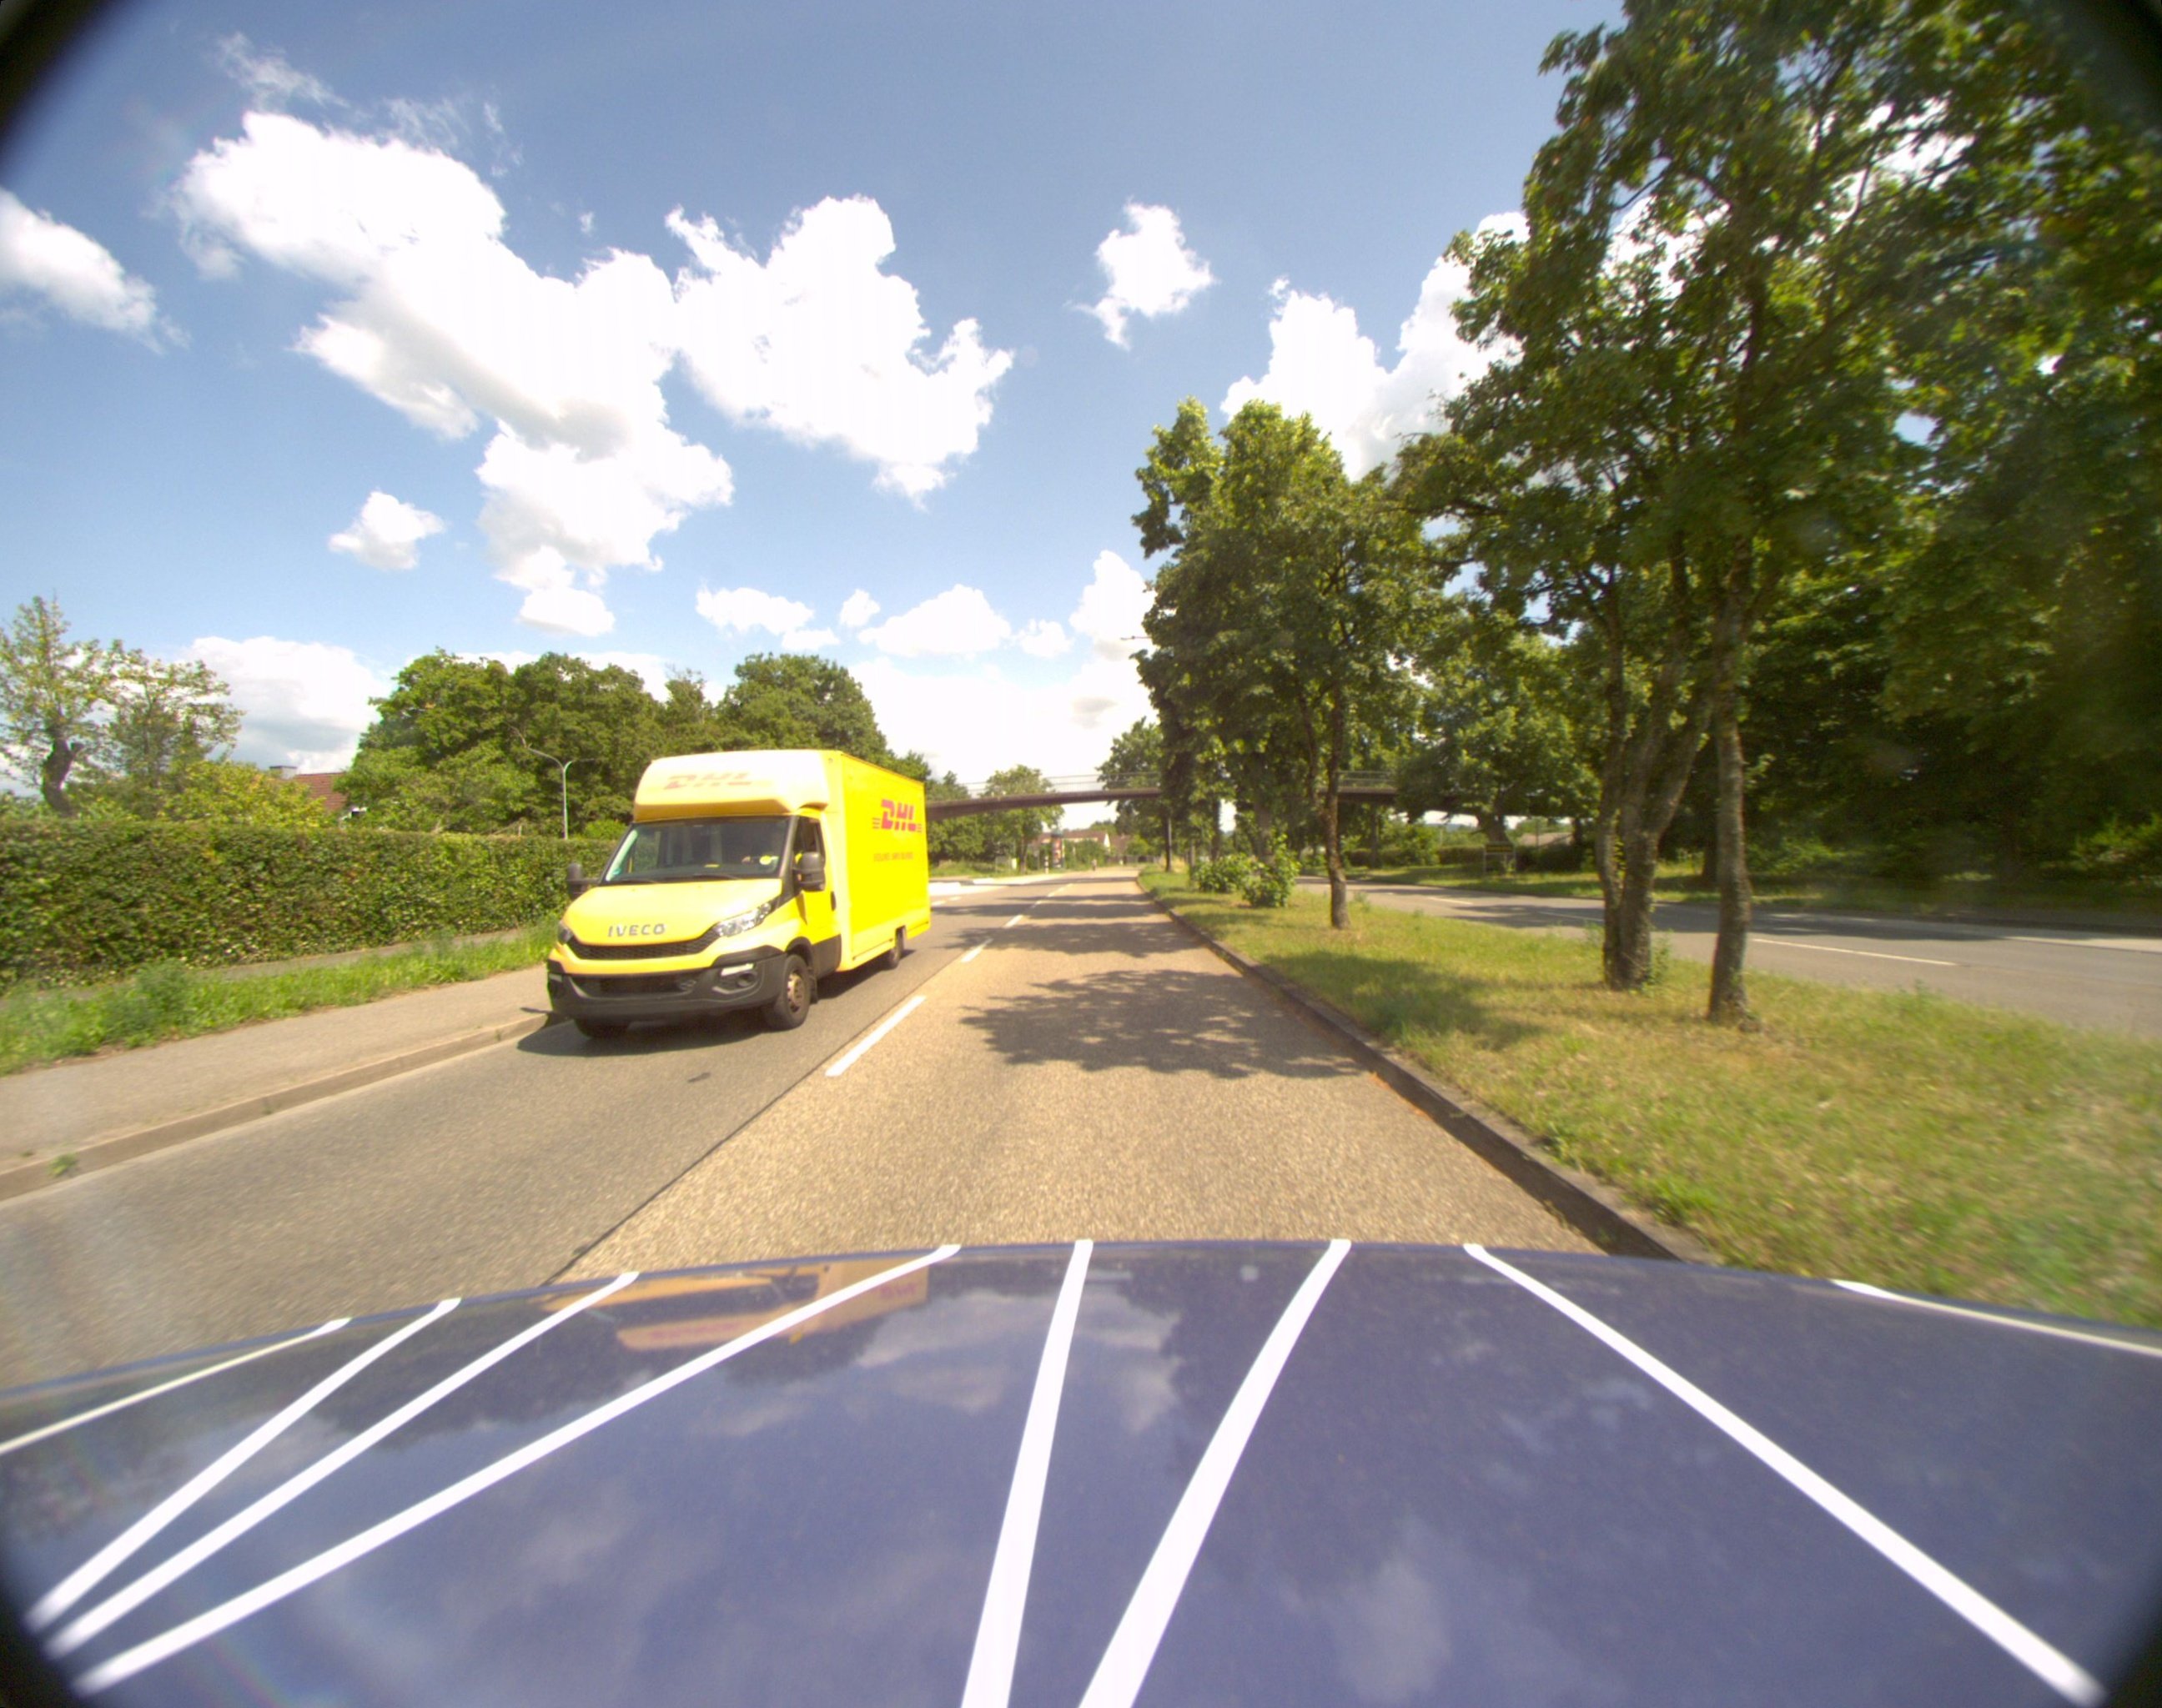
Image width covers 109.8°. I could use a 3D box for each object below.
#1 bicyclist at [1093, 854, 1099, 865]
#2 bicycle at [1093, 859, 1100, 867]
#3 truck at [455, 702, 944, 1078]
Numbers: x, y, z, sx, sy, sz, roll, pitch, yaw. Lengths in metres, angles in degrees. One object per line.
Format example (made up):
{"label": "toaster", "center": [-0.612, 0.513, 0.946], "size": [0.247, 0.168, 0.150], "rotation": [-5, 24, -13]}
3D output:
{"label": "bicyclist", "center": [2.120, 0.779, 105.917], "size": [0.619, 1.625, 0.701], "rotation": [-1, 0, 12]}
{"label": "bicycle", "center": [2.119, 1.265, 105.860], "size": [0.626, 1.145, 1.740], "rotation": [-1, 0, 12]}
{"label": "truck", "center": [-3.727, 0.321, 10.003], "size": [2.270, 2.863, 8.028], "rotation": [-3, 0, 0]}
